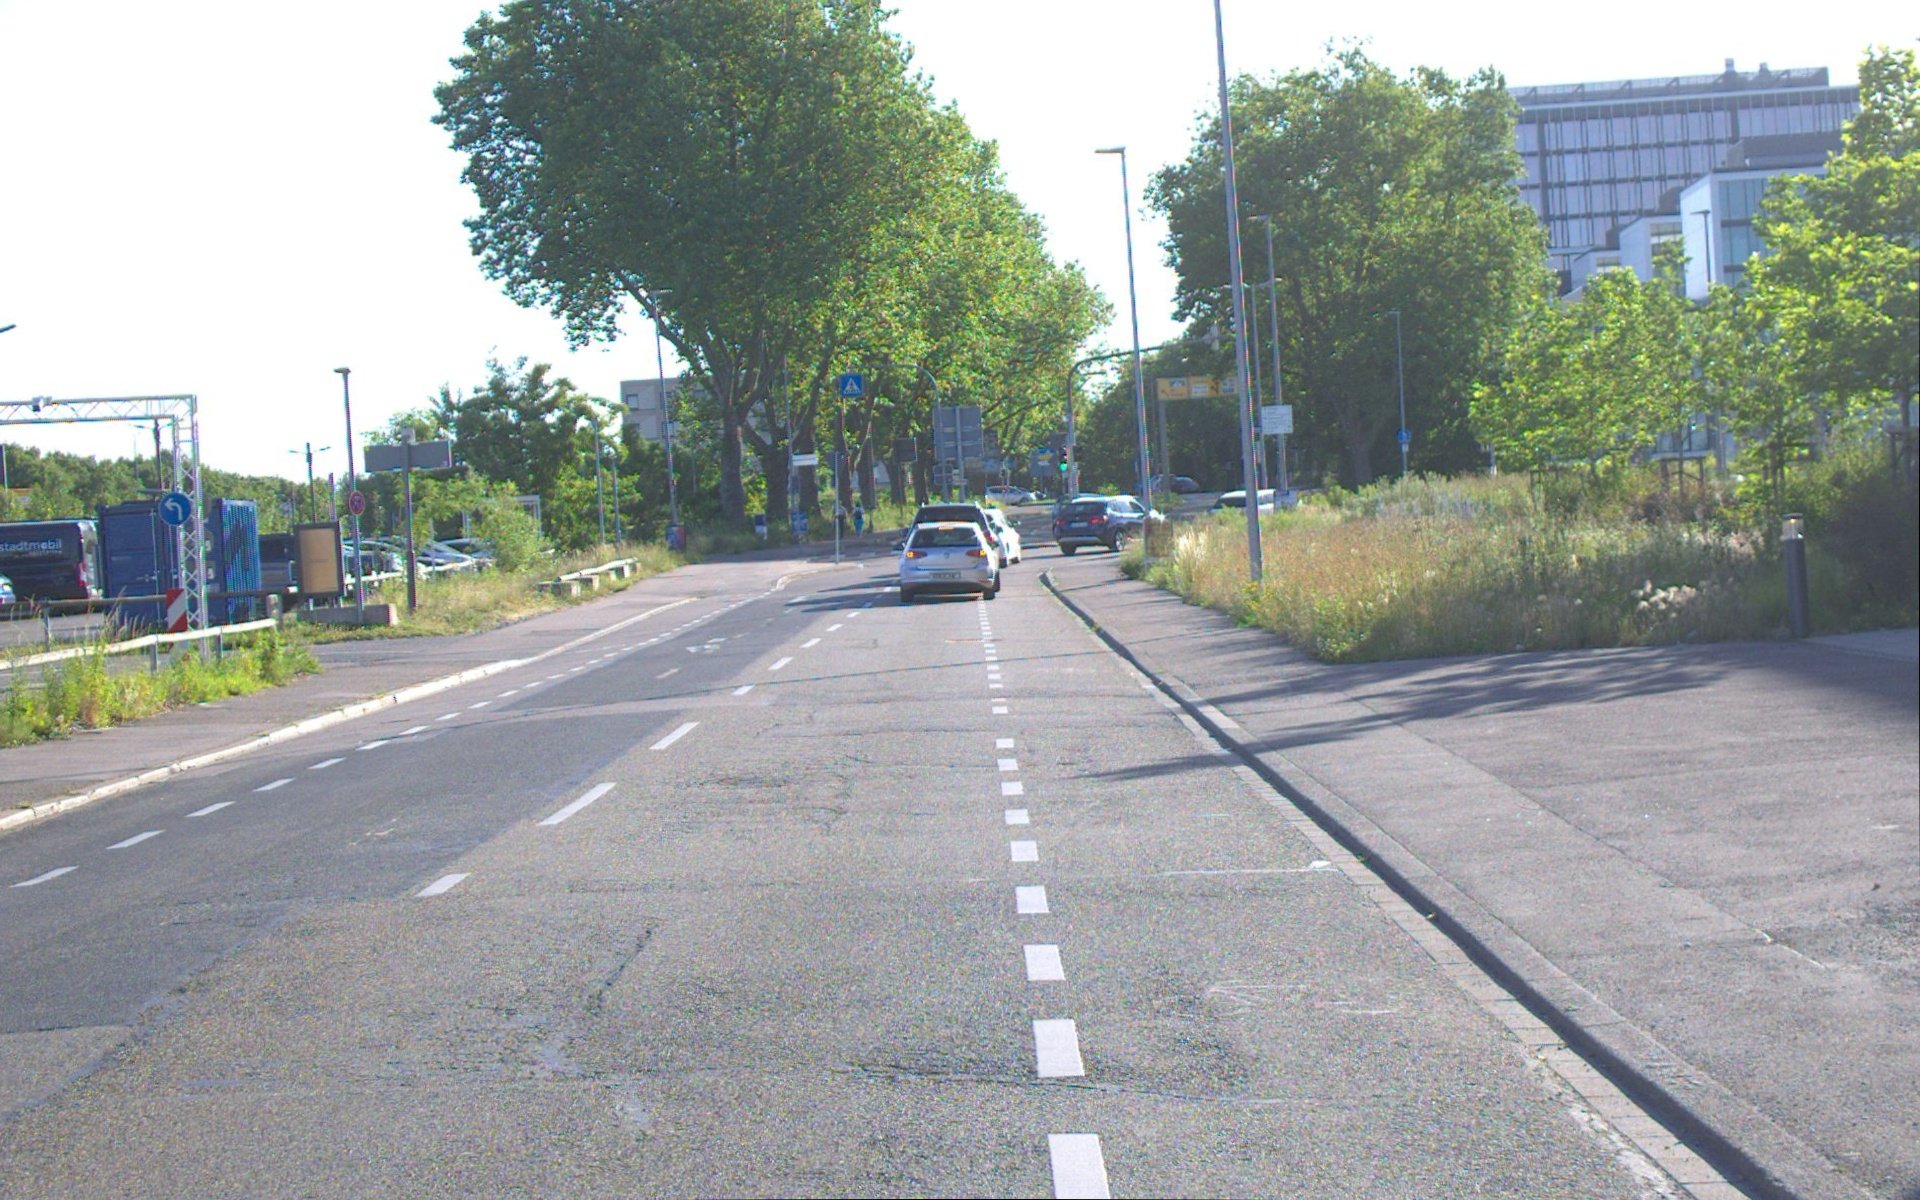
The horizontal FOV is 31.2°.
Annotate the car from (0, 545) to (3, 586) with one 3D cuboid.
[{"bbox_3d":[-25.237,-1.002,81.764,4.321,1.612,1.878,-3,2,0],"label":"car"}]

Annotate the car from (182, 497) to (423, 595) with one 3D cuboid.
[{"bbox_3d":[-14.498,-1.206,75.972,4.845,1.828,2.000,-3,2,0],"label":"car"}]

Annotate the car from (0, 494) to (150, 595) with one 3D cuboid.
[{"bbox_3d":[-24.577,-1.463,92.043,5.096,2.451,2.320,-3,2,0],"label":"car"}]

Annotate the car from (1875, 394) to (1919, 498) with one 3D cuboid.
[{"bbox_3d":[16.590,-2.507,53.531,4.185,1.575,1.852,-3,2,4],"label":"car"}]

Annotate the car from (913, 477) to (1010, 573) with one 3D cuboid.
[{"bbox_3d":[0.059,-1.563,70.363,1.819,1.762,4.630,-3,2,1],"label":"car"}]

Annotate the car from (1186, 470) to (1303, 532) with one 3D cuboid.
[{"bbox_3d":[8.596,-2.991,103.607,2.166,1.678,3.995,-3,1,25],"label":"car"}]

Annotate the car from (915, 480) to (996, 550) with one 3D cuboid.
[{"bbox_3d":[-0.126,-2.157,86.212,1.898,1.590,4.001,-3,2,0],"label":"car"}]

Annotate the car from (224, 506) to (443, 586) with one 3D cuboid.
[{"bbox_3d":[-14.359,-1.251,78.949,4.594,1.552,2.000,-3,2,0],"label":"car"}]

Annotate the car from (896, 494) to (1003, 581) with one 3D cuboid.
[{"bbox_3d":[-0.160,-1.188,64.024,1.790,1.415,4.000,-3,2,2],"label":"car"}]

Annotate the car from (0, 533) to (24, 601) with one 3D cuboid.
[{"bbox_3d":[-25.372,-0.705,84.352,4.207,1.612,1.878,-3,2,0],"label":"car"}]

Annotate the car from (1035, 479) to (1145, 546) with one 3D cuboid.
[{"bbox_3d":[3.665,-2.474,96.262,2.165,1.678,3.998,-3,2,15],"label":"car"}]

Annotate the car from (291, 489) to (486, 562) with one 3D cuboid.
[{"bbox_3d":[-14.458,-1.903,87.157,4.542,1.552,1.878,-3,2,0],"label":"car"}]

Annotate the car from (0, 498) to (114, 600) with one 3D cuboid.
[{"bbox_3d":[-24.806,-1.271,89.380,4.926,2.451,2.320,-3,2,0],"label":"car"}]
